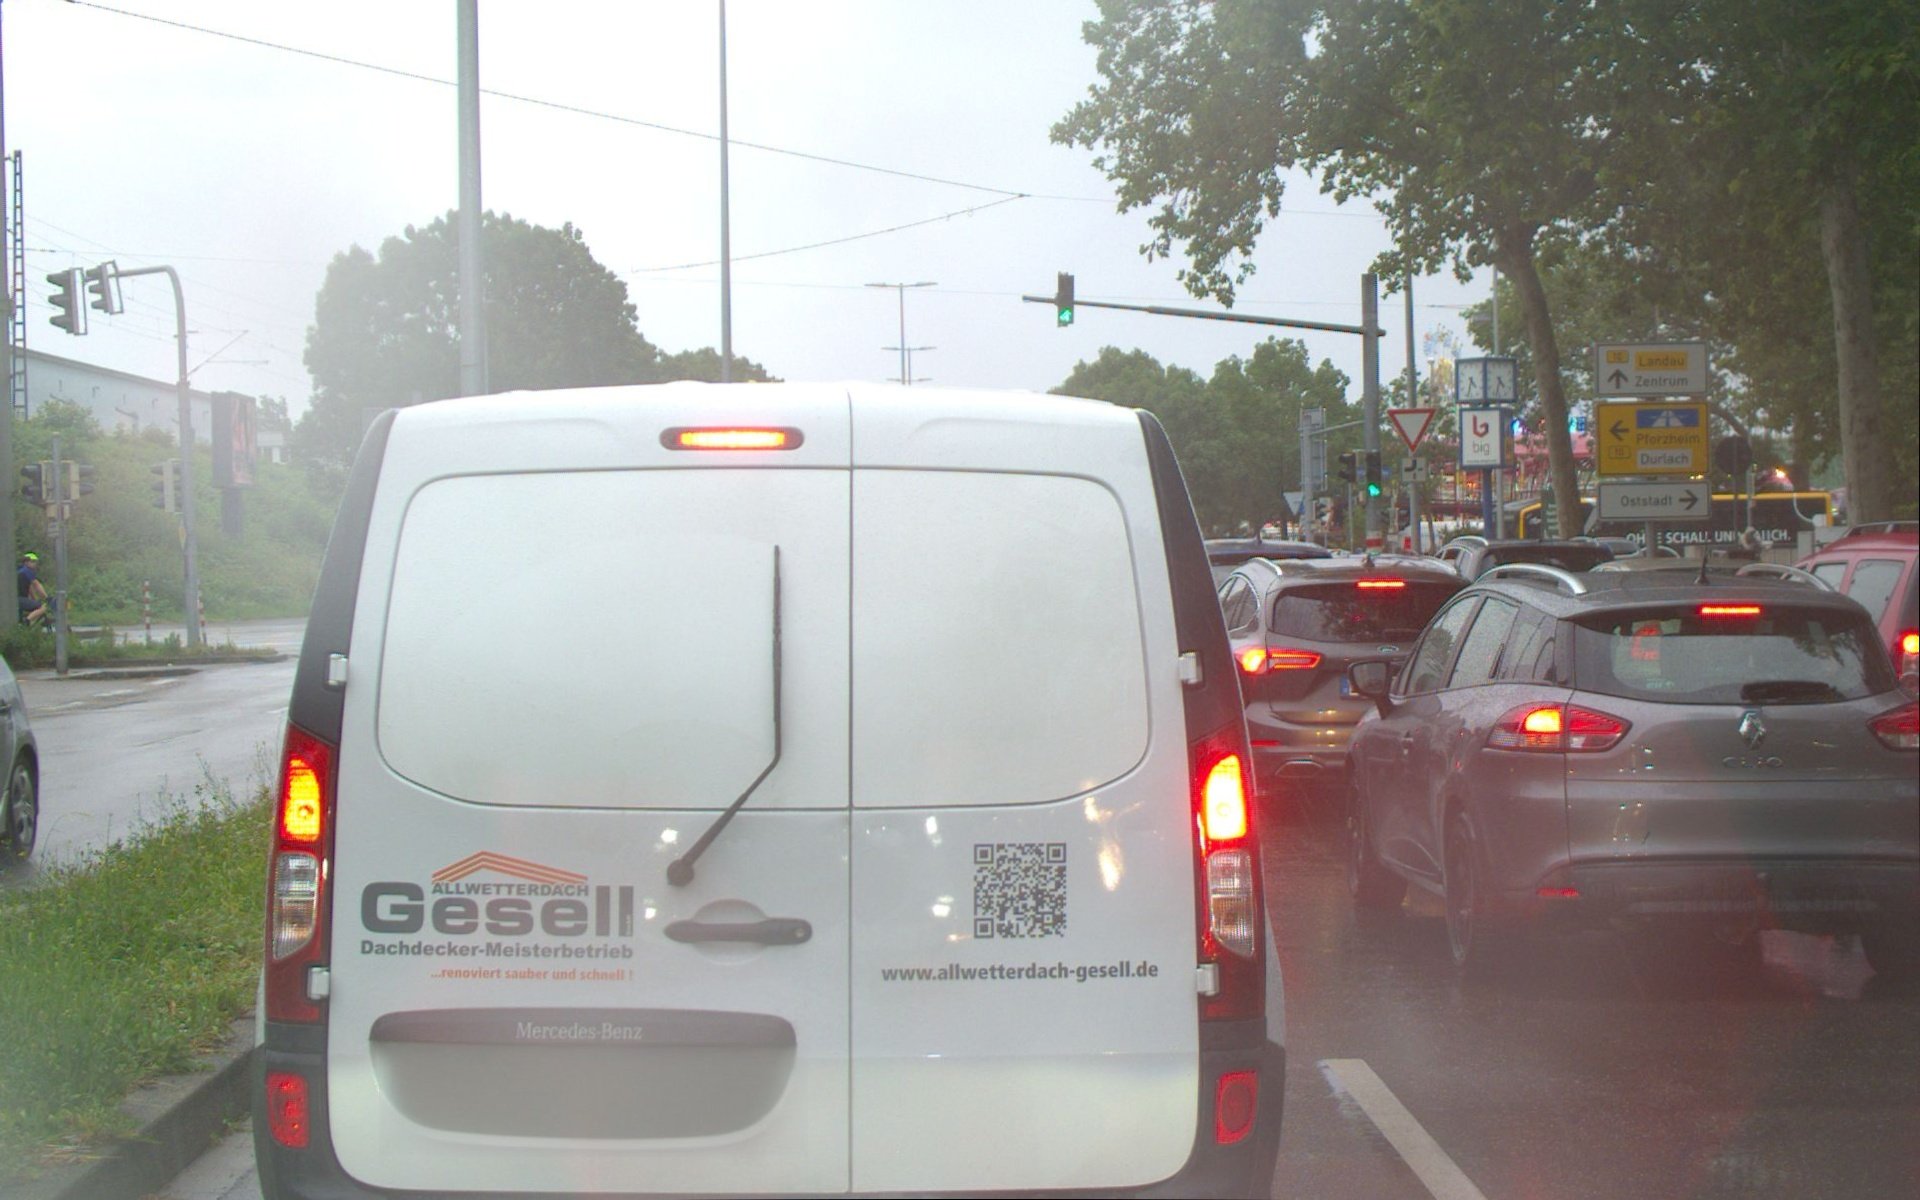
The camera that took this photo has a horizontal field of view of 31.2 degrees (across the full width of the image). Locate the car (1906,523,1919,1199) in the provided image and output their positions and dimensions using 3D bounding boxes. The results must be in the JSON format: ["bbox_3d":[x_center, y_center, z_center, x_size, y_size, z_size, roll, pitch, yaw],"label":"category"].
[{"bbox_3d":[2.976,0.646,5.410,1.747,1.549,4.091,0,1,-1],"label":"car"}]

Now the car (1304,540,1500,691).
[{"bbox_3d":[5.041,0.149,39.652,1.708,1.644,3.843,0,1,-1],"label":"car"}]

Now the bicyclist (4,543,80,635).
[{"bbox_3d":[-14.822,-0.189,55.485,1.040,1.445,0.729,-2,2,-25],"label":"bicyclist"}]

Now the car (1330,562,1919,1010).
[{"bbox_3d":[2.514,0.588,13.122,1.683,1.403,3.843,1,1,-1],"label":"car"}]

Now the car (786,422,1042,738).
[{"bbox_3d":[-0.353,-0.186,26.936,1.854,2.288,3.843,0,1,-1],"label":"car"}]

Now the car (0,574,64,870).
[{"bbox_3d":[-5.688,0.666,16.372,1.816,1.457,4.000,-3,1,-1],"label":"car"}]

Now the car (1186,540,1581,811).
[{"bbox_3d":[2.430,0.377,20.633,1.854,1.455,3.843,0,1,-1],"label":"car"}]

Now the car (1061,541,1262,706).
[{"bbox_3d":[2.080,0.215,36.370,1.854,1.644,3.843,0,1,-1],"label":"car"}]

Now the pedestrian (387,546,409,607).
[{"bbox_3d":[-15.711,-0.655,96.104,0.543,1.710,0.563,1,0,-4],"label":"pedestrian"}]

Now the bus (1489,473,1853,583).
[{"bbox_3d":[23.978,-2.447,115.905,11.967,3.411,2.484,-1,2,-12],"label":"bus"}]

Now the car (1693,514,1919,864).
[{"bbox_3d":[5.335,0.428,18.699,1.710,1.688,4.272,1,0,-1],"label":"car"}]

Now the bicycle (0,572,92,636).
[{"bbox_3d":[-14.848,0.055,55.561,1.040,0.949,2.889,-2,2,-25],"label":"bicycle"}]

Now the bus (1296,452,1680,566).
[{"bbox_3d":[16.953,-2.934,110.877,11.970,3.411,2.315,-1,1,0],"label":"bus"}]

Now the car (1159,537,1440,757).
[{"bbox_3d":[2.670,0.319,27.861,1.854,1.644,3.843,0,1,-1],"label":"car"}]

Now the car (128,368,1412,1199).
[{"bbox_3d":[-0.318,0.478,7.652,1.993,1.770,4.585,0,1,-1],"label":"car"}]

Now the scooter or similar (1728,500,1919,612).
[{"bbox_3d":[19.982,-0.997,77.063,1.890,2.437,5.316,-1,1,-41],"label":"scooter or similar"}]
